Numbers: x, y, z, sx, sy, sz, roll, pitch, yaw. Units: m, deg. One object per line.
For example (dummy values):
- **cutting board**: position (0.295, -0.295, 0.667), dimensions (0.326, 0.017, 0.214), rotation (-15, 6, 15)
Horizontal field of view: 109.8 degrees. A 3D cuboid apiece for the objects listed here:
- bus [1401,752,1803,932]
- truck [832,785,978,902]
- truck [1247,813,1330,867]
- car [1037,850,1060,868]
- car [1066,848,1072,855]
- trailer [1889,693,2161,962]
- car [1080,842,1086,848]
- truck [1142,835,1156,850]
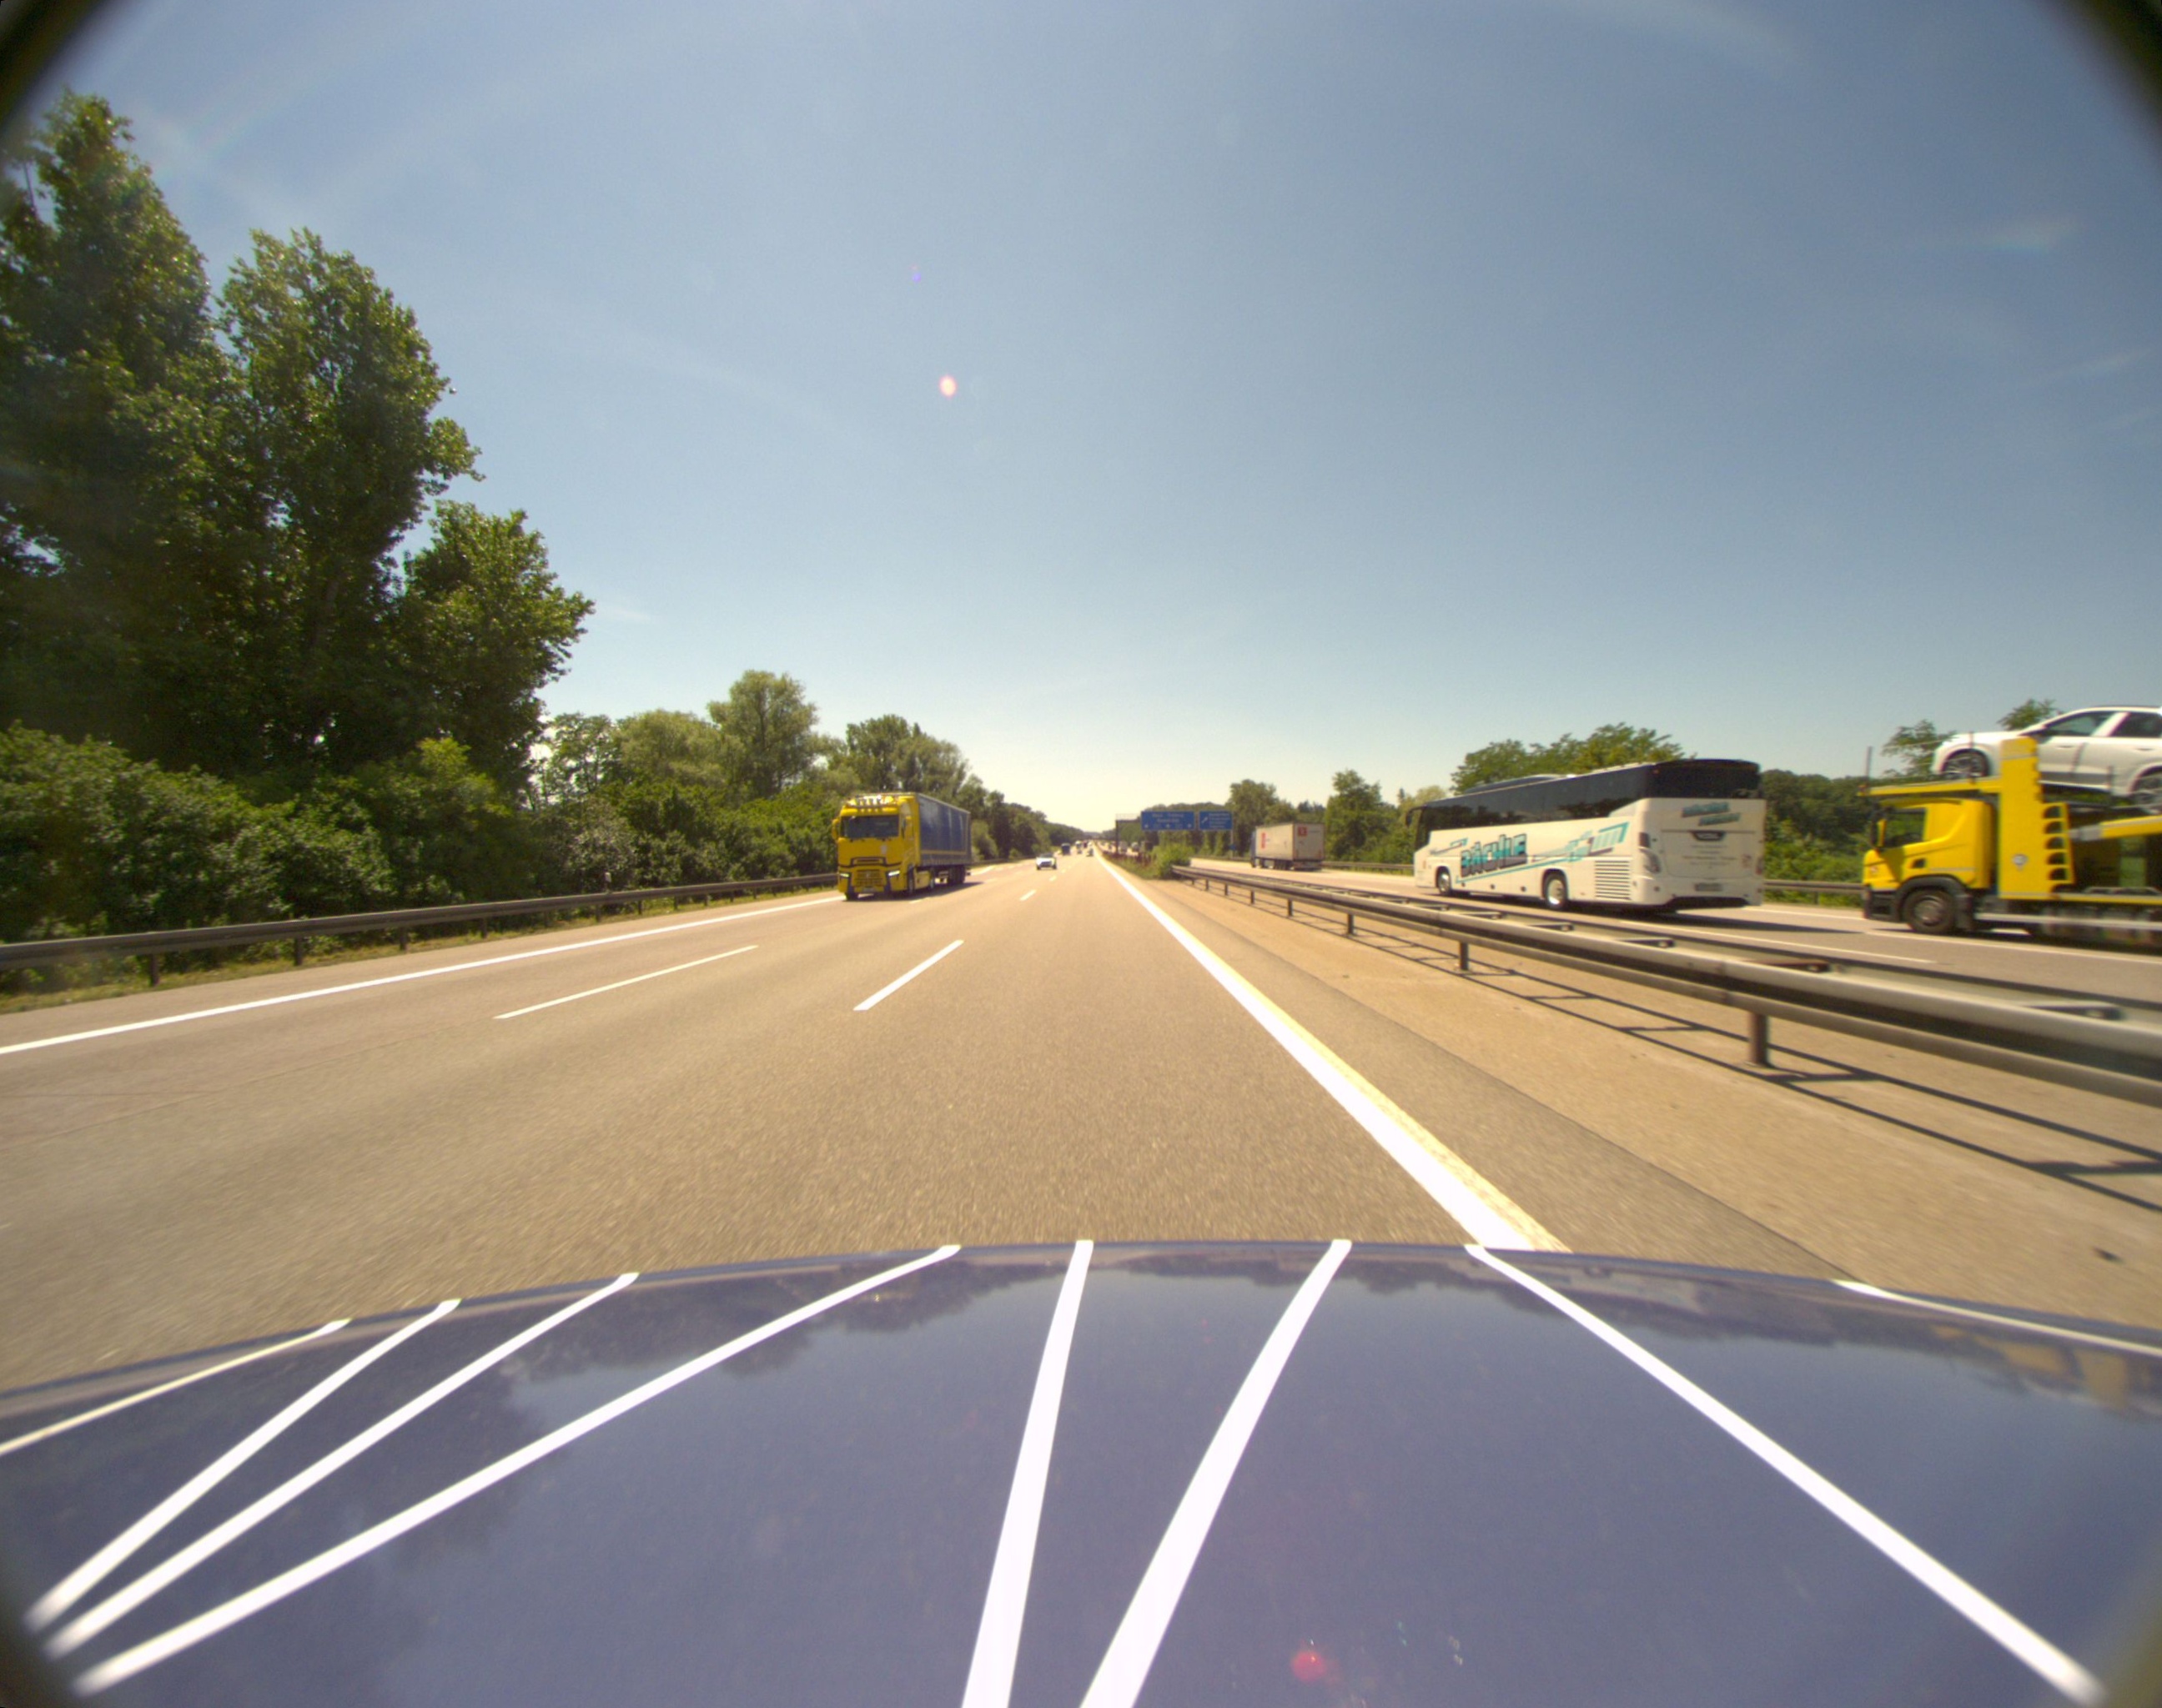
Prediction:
- **bus**: position (13.140, -0.289, 21.629), dimensions (2.701, 3.563, 12.792), rotation (1, 1, 1)
- **truck**: position (-7.593, -0.533, 36.197), dimensions (2.852, 4.233, 16.787), rotation (-1, 1, 0)
- **truck**: position (18.453, -1.227, 69.290), dimensions (2.962, 4.317, 17.467), rotation (-1, 1, 1)
- **car**: position (-3.065, 0.483, 72.360), dimensions (1.845, 1.565, 3.999), rotation (-2, 1, 1)
- **car**: position (-3.760, -0.857, 236.349), dimensions (1.999, 2.002, 3.999), rotation (0, 1, -1)
- **trailer**: position (17.280, -0.360, 9.586), dimensions (2.928, 3.945, 10.535), rotation (1, 1, 1)
- **car**: position (0.813, -2.940, 256.145), dimensions (1.840, 2.002, 3.999), rotation (-1, 1, 2)
- **truck**: position (21.094, -3.550, 237.205), dimensions (2.962, 4.317, 18.239), rotation (0, 1, 1)
